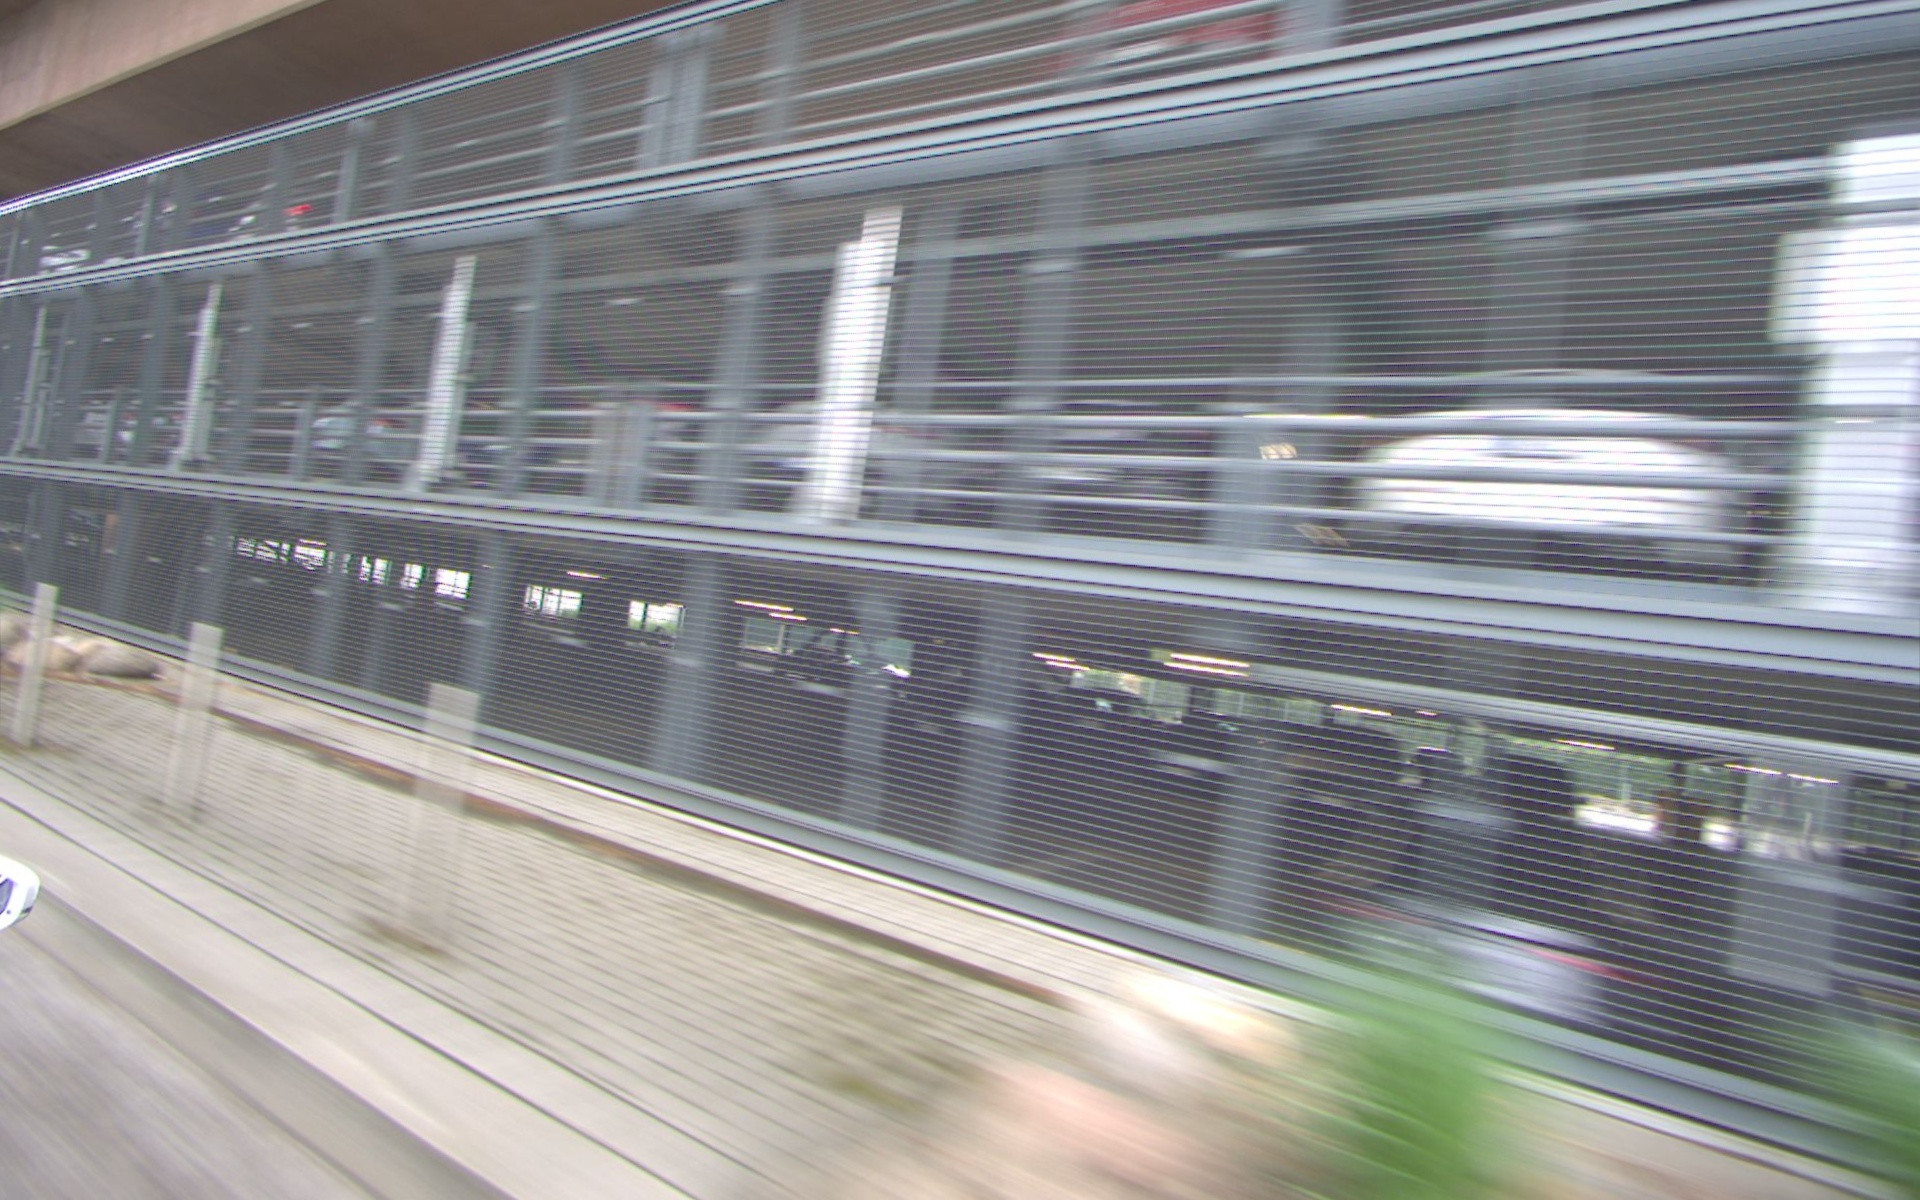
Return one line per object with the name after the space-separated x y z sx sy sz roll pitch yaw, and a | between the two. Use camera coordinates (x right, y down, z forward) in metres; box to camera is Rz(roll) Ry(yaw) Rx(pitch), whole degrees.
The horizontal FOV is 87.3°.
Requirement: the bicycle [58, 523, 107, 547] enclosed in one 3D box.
-51.937 -3.845 59.555 0.390 1.035 2.059 8 -3 36 | bicycle
